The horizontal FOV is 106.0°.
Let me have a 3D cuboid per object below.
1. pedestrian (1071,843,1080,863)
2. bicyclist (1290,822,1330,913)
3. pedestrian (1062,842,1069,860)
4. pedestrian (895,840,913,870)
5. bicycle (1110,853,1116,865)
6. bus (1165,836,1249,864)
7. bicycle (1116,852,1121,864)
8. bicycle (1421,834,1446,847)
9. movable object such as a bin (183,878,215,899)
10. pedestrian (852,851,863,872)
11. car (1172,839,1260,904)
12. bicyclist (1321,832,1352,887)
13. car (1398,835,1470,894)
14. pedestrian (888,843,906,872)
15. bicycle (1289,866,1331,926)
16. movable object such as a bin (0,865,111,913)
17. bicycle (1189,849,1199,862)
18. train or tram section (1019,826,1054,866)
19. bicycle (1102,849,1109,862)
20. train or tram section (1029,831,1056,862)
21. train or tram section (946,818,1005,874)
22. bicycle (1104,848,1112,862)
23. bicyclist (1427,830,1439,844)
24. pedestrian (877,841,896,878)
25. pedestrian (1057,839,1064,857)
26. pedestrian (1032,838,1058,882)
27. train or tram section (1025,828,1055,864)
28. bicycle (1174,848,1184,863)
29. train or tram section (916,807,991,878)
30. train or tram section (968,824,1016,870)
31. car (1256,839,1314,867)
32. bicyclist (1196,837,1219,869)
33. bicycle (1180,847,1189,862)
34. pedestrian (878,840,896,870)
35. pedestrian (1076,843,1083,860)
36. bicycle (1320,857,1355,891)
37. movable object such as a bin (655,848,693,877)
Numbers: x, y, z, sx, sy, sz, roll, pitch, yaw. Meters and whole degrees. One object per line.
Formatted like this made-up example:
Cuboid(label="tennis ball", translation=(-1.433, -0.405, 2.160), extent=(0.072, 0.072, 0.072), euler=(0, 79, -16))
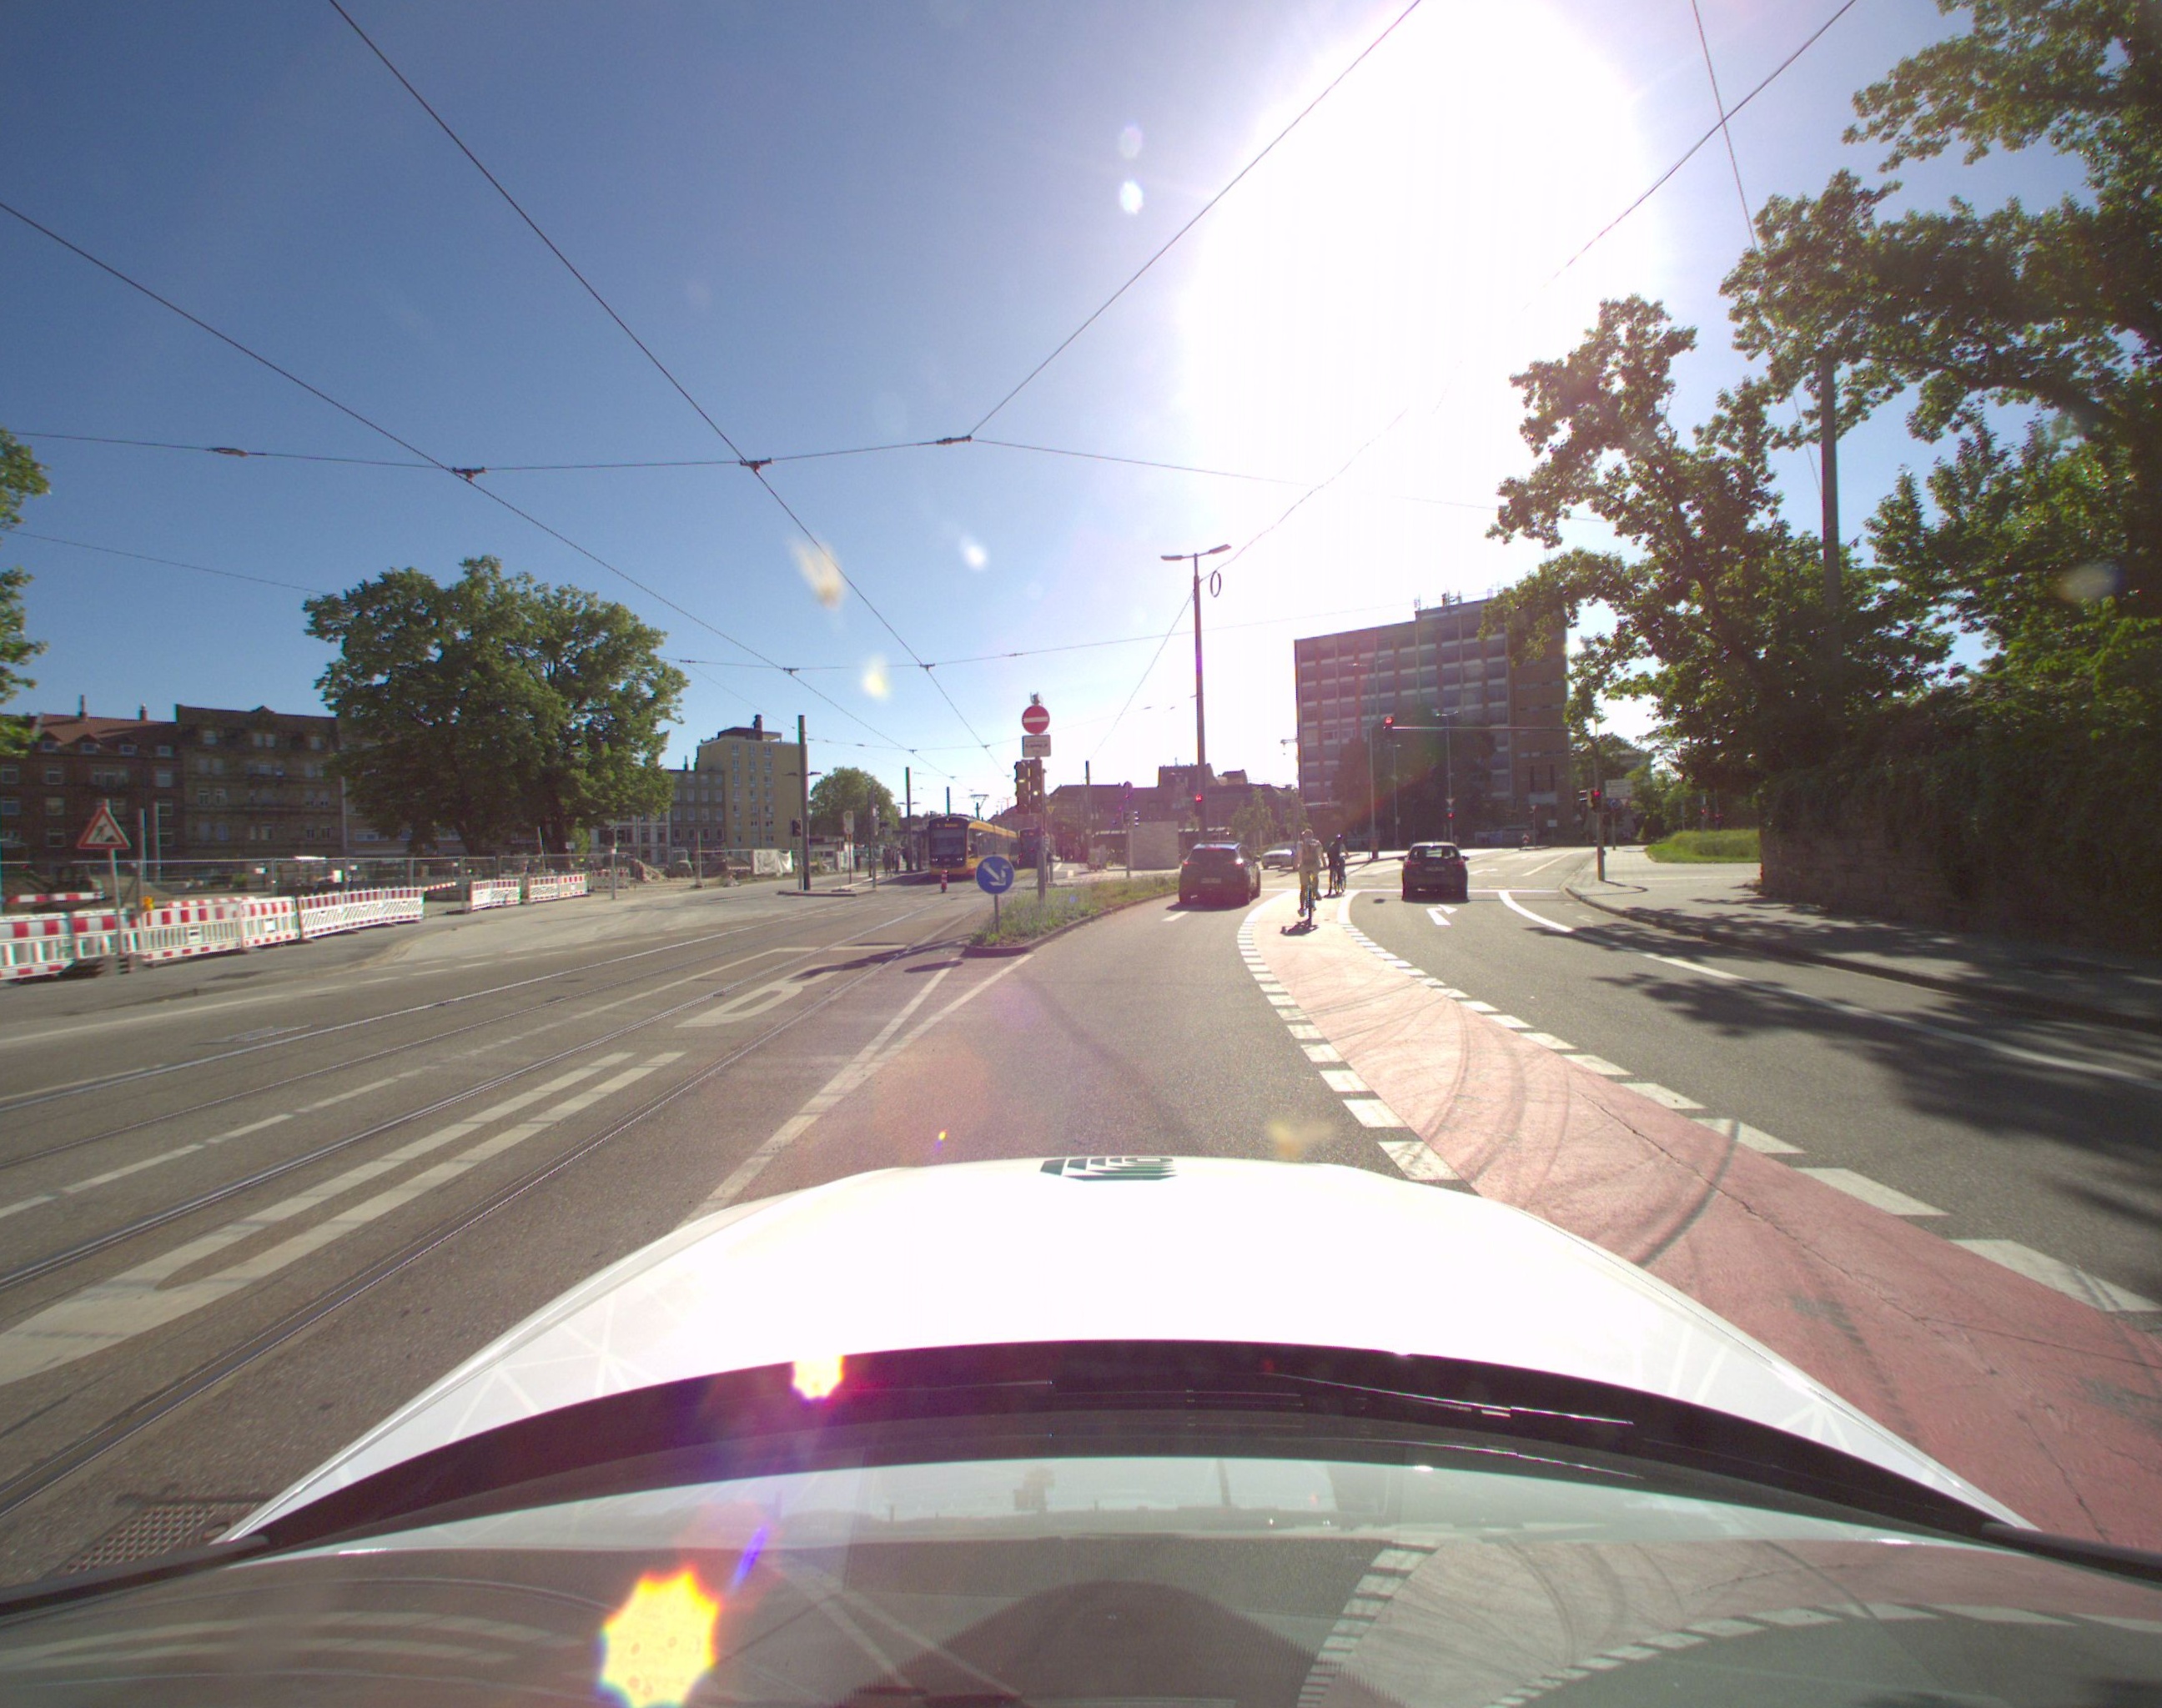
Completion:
Cuboid(label="pedestrian", translation=(-0.552, -0.092, 79.276), extent=(0.845, 1.883, 0.760), euler=(0, -1, -3))
Cuboid(label="bicyclist", translation=(4.539, 0.255, 16.114), extent=(0.658, 1.747, 1.010), euler=(-1, 0, 19))
Cuboid(label="pedestrian", translation=(-1.584, -0.322, 82.215), extent=(0.631, 1.857, 0.701), euler=(0, -1, -6))
Cuboid(label="pedestrian", translation=(-12.126, 0.087, 55.730), extent=(0.956, 2.014, 1.001), euler=(0, -1, 5))
Cuboid(label="bicycle", translation=(2.521, 0.375, 64.354), extent=(0.420, 0.938, 1.305), euler=(0, 0, -2))
Cuboid(label="bus", translation=(16.252, -0.454, 106.547), extent=(2.896, 3.396, 12.306), euler=(0, -1, -37))
Cuboid(label="bicycle", translation=(3.191, 0.335, 69.366), extent=(0.420, 0.938, 1.379), euler=(0, 0, 2))
Cuboid(label="bicycle", translation=(45.015, -1.695, 104.127), extent=(2.774, 1.541, 0.890), euler=(-1, -1, 38))
Cuboid(label="movable object such as a bin", translation=(-76.706, 2.955, 70.863), extent=(3.753, 1.680, 1.761), euler=(-1, 2, 44))
Cuboid(label="pedestrian", translation=(-19.261, 0.607, 70.091), extent=(0.666, 1.767, 0.799), euler=(-2, 0, -2))
Cuboid(label="car", translation=(3.735, 0.395, 22.028), extent=(1.808, 1.599, 3.676), euler=(0, 1, 18))
Cuboid(label="bicyclist", translation=(7.711, 0.146, 24.576), extent=(0.715, 1.625, 1.061), euler=(0, 1, 27))
Cuboid(label="car", translation=(10.017, 0.247, 23.322), extent=(1.741, 1.541, 3.678), euler=(-1, 1, 21))
Cuboid(label="pedestrian", translation=(-11.209, 0.210, 49.711), extent=(0.866, 1.767, 0.966), euler=(-2, 0, -22))
Cuboid(label="bicycle", translation=(4.554, 0.802, 16.129), extent=(0.657, 1.047, 1.900), euler=(-1, 1, 20))
Cuboid(label="movable object such as a bin", translation=(-63.455, 2.101, 49.251), extent=(1.870, 2.759, 6.123), euler=(-1, -1, 40))
Cuboid(label="bicycle", translation=(8.093, 0.115, 58.415), extent=(0.578, 0.961, 2.061), euler=(0, -1, 4))
Cuboid(label="train or tram section", translation=(-4.146, -0.741, 77.305), extent=(2.863, 3.507, 10.538), euler=(-1, 0, -1))
Cuboid(label="bicycle", translation=(2.095, 0.119, 69.159), extent=(0.563, 1.093, 2.030), euler=(0, -1, 2))
Cuboid(label="train or tram section", translation=(-4.533, -0.939, 98.332), extent=(2.863, 3.507, 10.538), euler=(-1, 1, -1))
Cuboid(label="train or tram section", translation=(-7.213, -0.554, 57.236), extent=(2.808, 3.507, 10.609), euler=(-1, 0, 0))
Cuboid(label="bicycle", translation=(2.074, 0.067, 62.683), extent=(0.563, 1.093, 2.030), euler=(0, -1, 2))
Cuboid(label="bicyclist", translation=(45.013, -2.131, 104.125), extent=(1.146, 1.797, 0.890), euler=(-1, -1, 38))
Cuboid(label="pedestrian", translation=(-10.138, 0.272, 42.534), extent=(0.760, 1.850, 0.901), euler=(-2, 3, -3))
Cuboid(label="pedestrian", translation=(-2.136, -0.593, 86.750), extent=(0.738, 1.917, 0.741), euler=(0, -1, -2))
Cuboid(label="pedestrian", translation=(-1.530, 0.261, 34.704), extent=(1.017, 1.832, 0.757), euler=(0, -1, -12))
Cuboid(label="train or tram section", translation=(-4.340, -0.850, 87.774), extent=(2.863, 3.507, 10.538), euler=(-1, 0, -1))
Cuboid(label="bicycle", translation=(7.021, 0.122, 58.264), extent=(0.578, 1.058, 1.818), euler=(0, -1, 4))
Cuboid(label="train or tram section", translation=(-7.067, -0.625, 46.666), extent=(2.810, 3.507, 10.472), euler=(-2, 0, -2))
Cuboid(label="train or tram section", translation=(-7.289, -0.556, 68.099), extent=(2.808, 3.507, 11.208), euler=(-1, 0, 0))
Cuboid(label="car", translation=(11.168, -0.051, 44.415), extent=(1.782, 1.393, 4.119), euler=(-2, 0, 32))
Cuboid(label="bicyclist", translation=(6.716, -0.048, 43.272), extent=(0.871, 1.644, 1.067), euler=(-2, 0, 27))
Cuboid(label="bicycle", translation=(8.189, 0.048, 64.207), extent=(0.578, 1.088, 2.061), euler=(0, -1, 4))
Cuboid(label="pedestrian", translation=(-13.156, 0.088, 55.262), extent=(0.956, 2.014, 1.001), euler=(0, -1, 5))
Cuboid(label="pedestrian", translation=(-0.191, -0.288, 87.765), extent=(0.670, 1.857, 0.703), euler=(0, -1, 4))
Cuboid(label="bicycle", translation=(7.818, 0.582, 24.790), extent=(0.716, 0.960, 1.895), euler=(0, 1, 27))
Cuboid(label="movable object such as a bin", translation=(-40.076, 0.805, 80.147), extent=(3.948, 2.796, 1.845), euler=(-1, -1, 37))
